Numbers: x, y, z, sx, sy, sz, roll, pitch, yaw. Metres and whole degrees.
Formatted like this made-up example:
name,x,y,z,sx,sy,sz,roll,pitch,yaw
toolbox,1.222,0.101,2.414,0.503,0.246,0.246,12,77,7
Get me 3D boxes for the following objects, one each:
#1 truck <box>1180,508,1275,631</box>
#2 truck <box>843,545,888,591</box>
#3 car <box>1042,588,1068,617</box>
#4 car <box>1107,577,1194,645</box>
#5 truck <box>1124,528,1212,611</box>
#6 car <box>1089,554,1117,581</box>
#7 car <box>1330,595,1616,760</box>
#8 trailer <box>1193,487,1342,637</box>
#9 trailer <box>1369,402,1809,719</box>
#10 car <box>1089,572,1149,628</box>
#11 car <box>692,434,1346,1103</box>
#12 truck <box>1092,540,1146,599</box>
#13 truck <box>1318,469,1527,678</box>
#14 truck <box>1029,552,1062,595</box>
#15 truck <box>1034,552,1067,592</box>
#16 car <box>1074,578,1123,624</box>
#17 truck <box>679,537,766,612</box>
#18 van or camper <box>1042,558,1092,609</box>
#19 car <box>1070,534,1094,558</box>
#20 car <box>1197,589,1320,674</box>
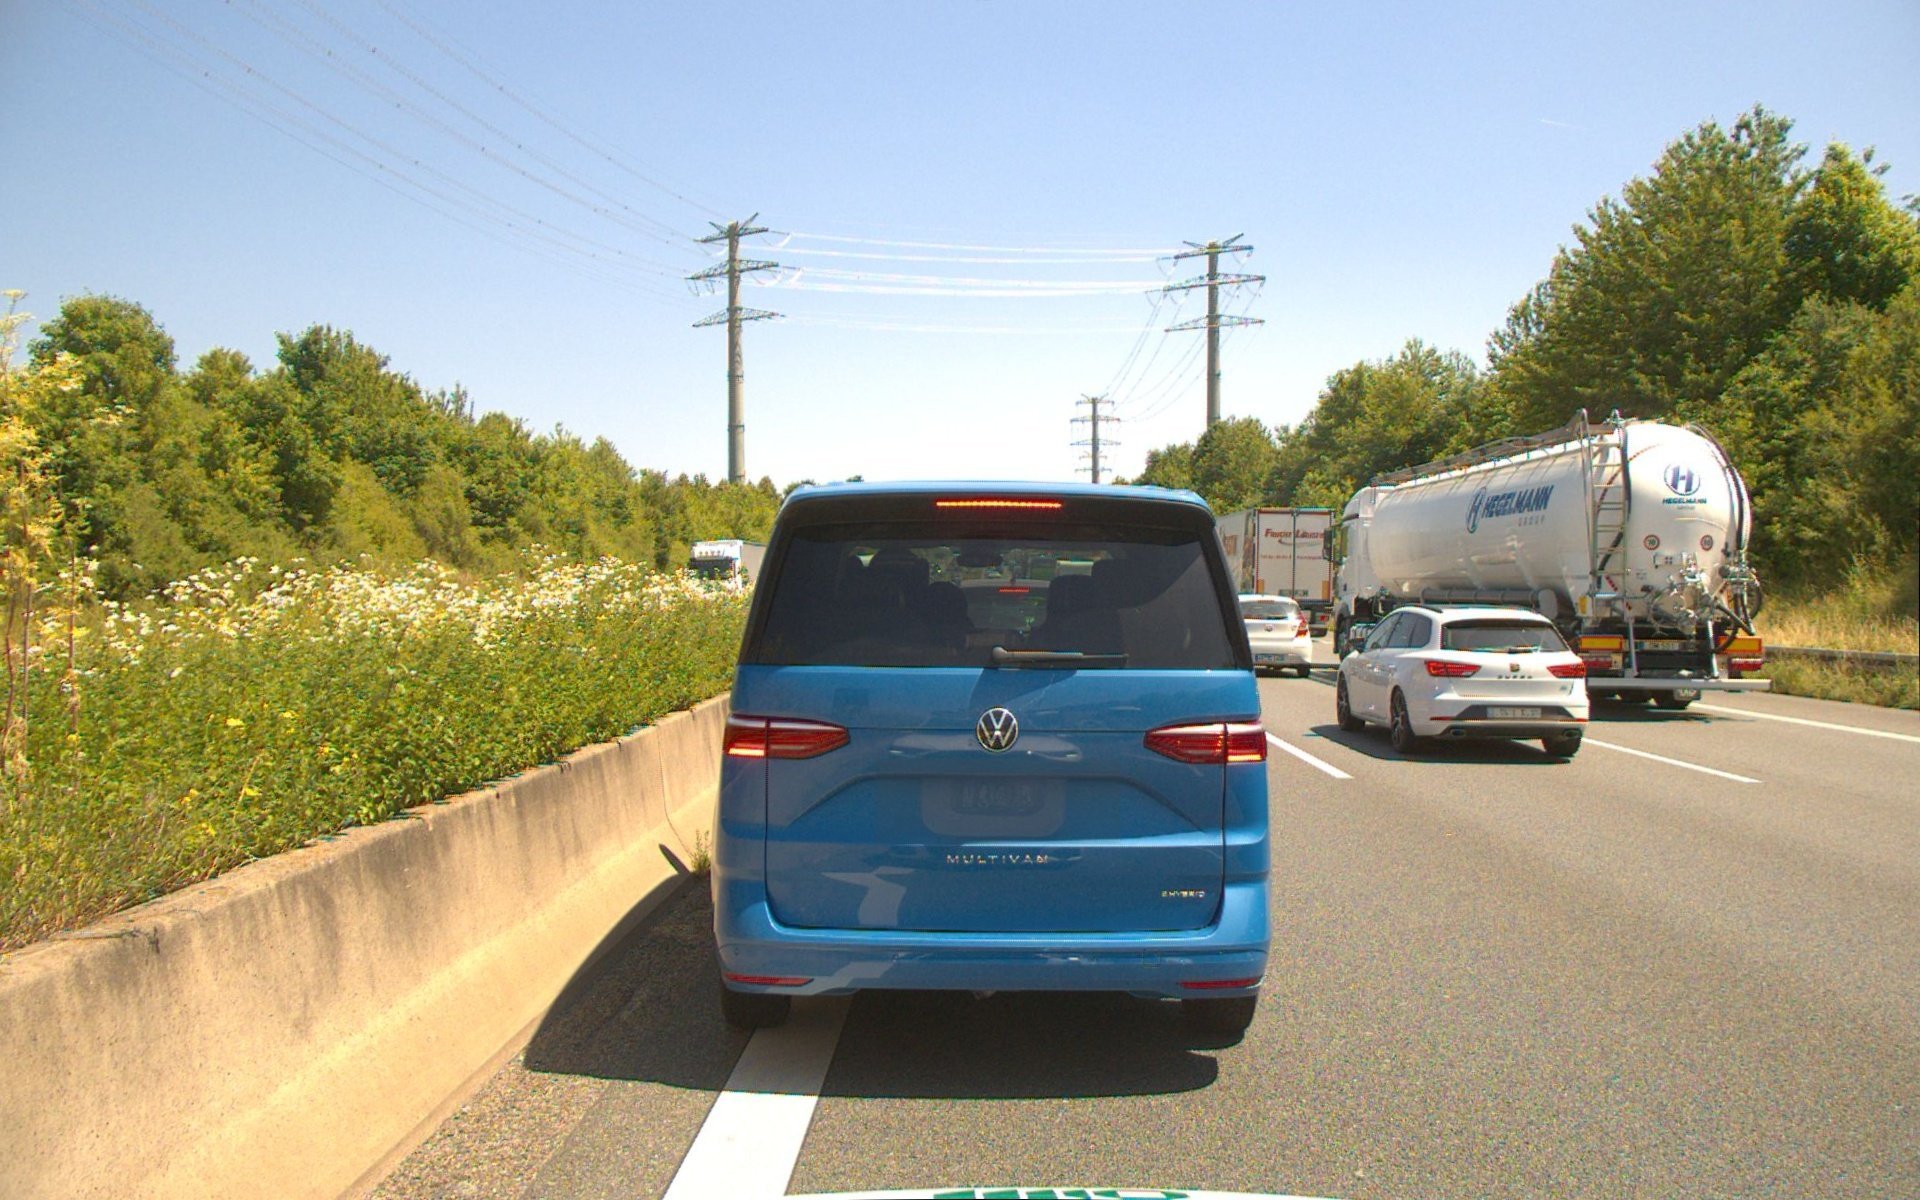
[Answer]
name,x,y,z,sx,sy,sz,roll,pitch,yaw
truck,10.338,-1.151,64.386,2.852,4.547,5.142,-1,0,0
truck,-8.331,-2.749,147.316,3.107,3.886,11.945,1,0,1
car,6.918,0.213,120.564,1.798,2.033,4.001,-2,-1,2
car,5.172,0.301,45.425,1.958,1.745,4.626,-1,-1,2
truck,10.369,-1.392,84.250,2.943,3.832,15.716,0,0,2
car,11.246,-2.522,130.033,1.952,2.049,4.000,0,0,1
car,5.124,0.725,17.135,1.711,1.468,4.314,-1,-1,2
trailer,10.271,-1.165,56.723,2.852,4.547,12.154,-1,0,0
trailer,9.278,-0.507,26.412,2.704,3.912,11.486,-1,0,0
car,5.942,0.023,62.379,1.884,1.959,4.236,-2,-1,1
car,0.206,0.473,6.804,1.880,1.919,4.001,1,0,1
truck,11.000,-2.008,115.315,2.835,3.832,13.347,0,0,2
truck,9.365,-0.506,34.138,2.735,3.903,5.572,-1,0,0
truck,7.869,-2.415,153.852,2.835,3.832,10.142,0,0,2
truck,10.750,-3.260,197.456,3.493,4.596,10.293,0,0,0
car,6.235,0.065,74.920,1.884,1.959,4.236,-2,-1,1
truck,-13.071,-1.363,92.133,2.851,3.886,11.945,1,0,1
van or camper,6.652,-0.985,103.482,2.895,3.075,7.104,0,0,2
car,11.176,-4.939,151.790,1.952,2.049,4.000,0,0,1
car,5.690,0.594,31.924,1.779,1.511,4.001,-1,-1,2
